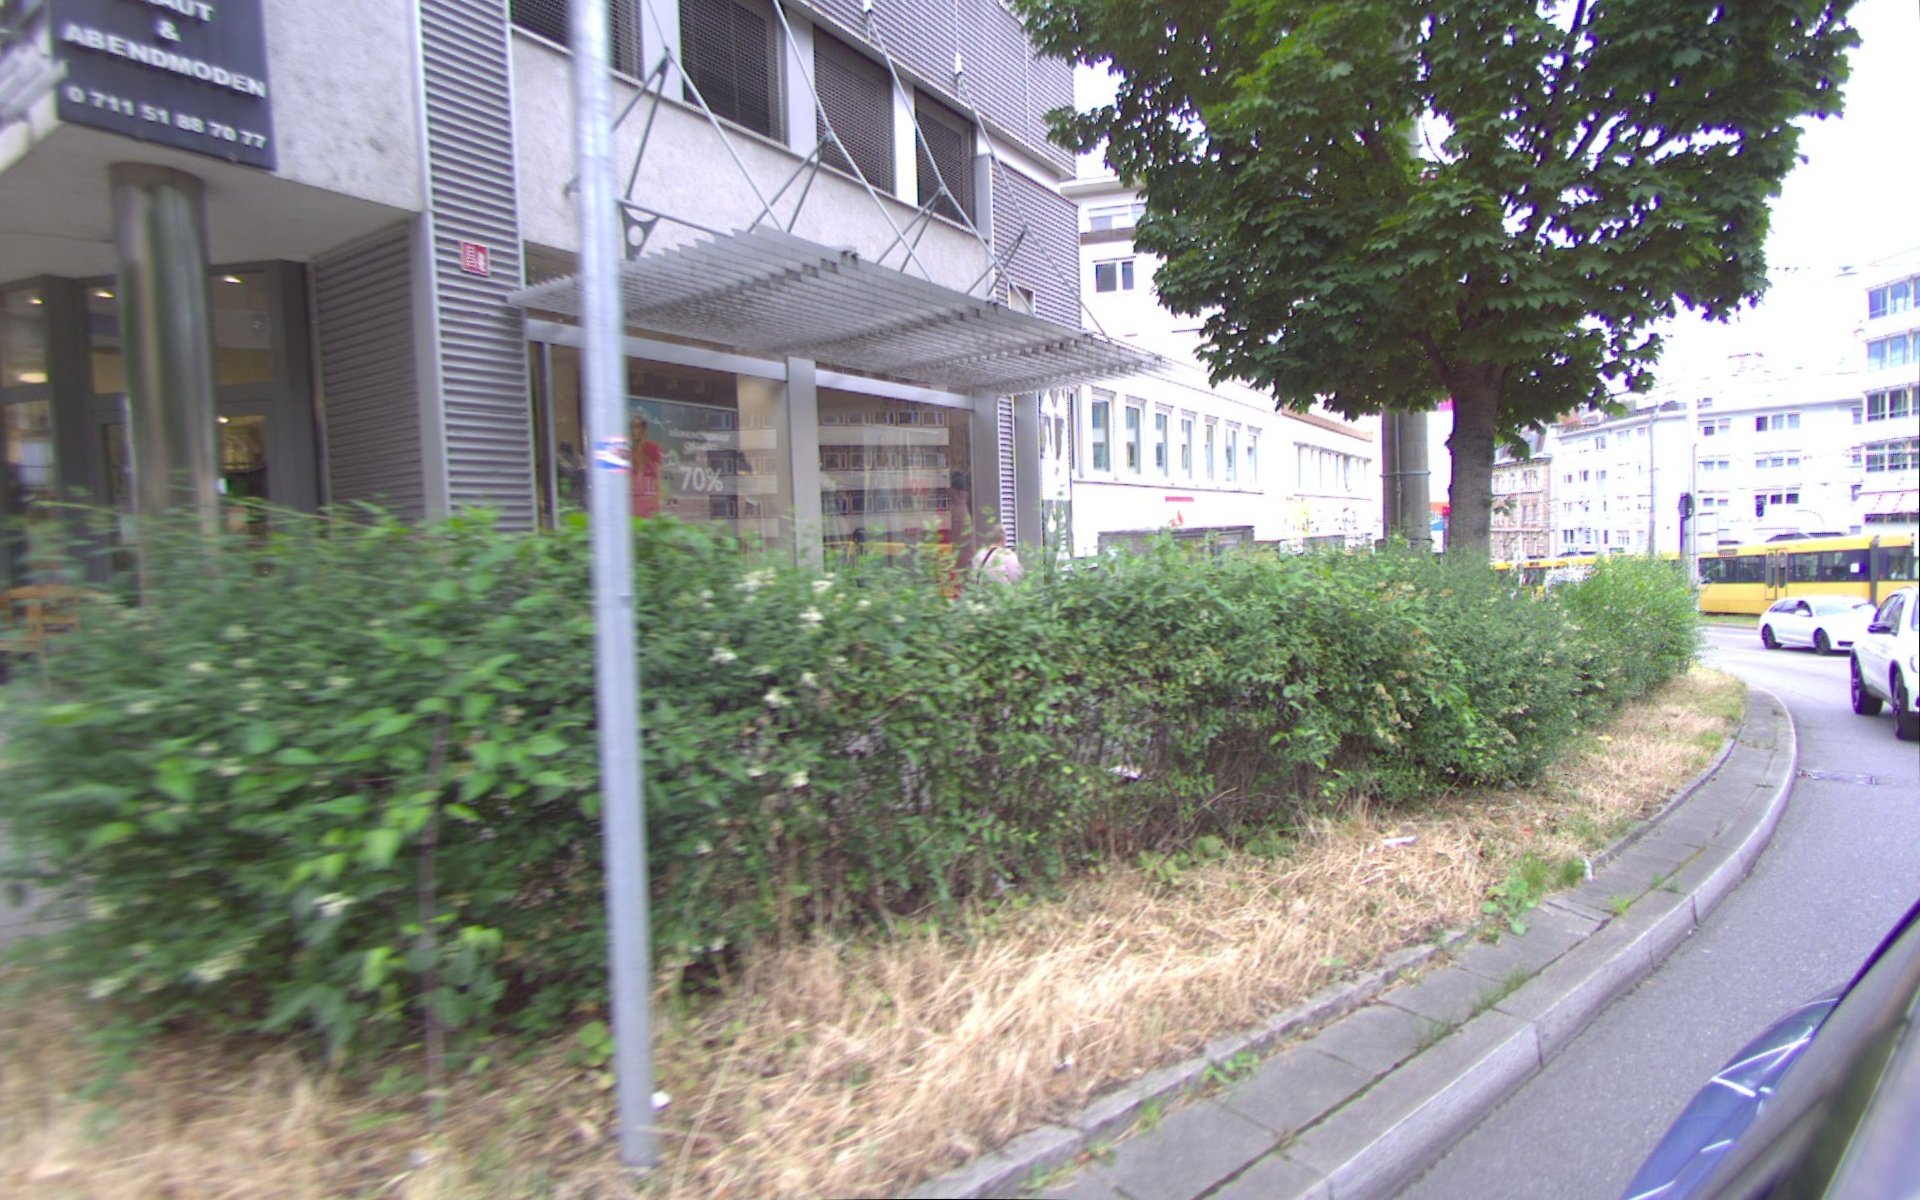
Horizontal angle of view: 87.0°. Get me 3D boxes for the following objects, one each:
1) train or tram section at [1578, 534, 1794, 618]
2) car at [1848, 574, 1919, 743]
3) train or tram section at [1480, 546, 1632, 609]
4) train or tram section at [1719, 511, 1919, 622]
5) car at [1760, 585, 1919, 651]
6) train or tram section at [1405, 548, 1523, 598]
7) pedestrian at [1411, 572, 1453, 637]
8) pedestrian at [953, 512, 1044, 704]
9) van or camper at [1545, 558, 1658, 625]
[{"bbox_3d":[37.290,-1.206,53.046,2.843,3.709,14.198,-2,1,8],"label":"train or tram section"},{"bbox_3d":[11.590,0.552,11.294,1.923,1.652,4.715,-2,0,35],"label":"car"},{"bbox_3d":[39.028,-1.519,67.173,2.881,3.602,14.210,-3,1,6],"label":"train or tram section"},{"bbox_3d":[34.785,-1.275,39.223,2.847,3.709,14.178,-2,1,12],"label":"train or tram section"},{"bbox_3d":[23.108,0.422,26.450,1.872,1.493,4.507,-2,0,17],"label":"car"},{"bbox_3d":[40.103,-2.053,81.341,2.838,3.484,14.219,-4,0,3],"label":"train or tram section"},{"bbox_3d":[13.668,0.109,29.301,0.832,1.833,1.135,2,2,38],"label":"pedestrian"},{"bbox_3d":[0.385,0.076,10.034,0.670,1.817,0.602,-1,-1,33],"label":"pedestrian"},{"bbox_3d":[27.568,-0.423,43.785,2.178,2.590,6.345,-3,0,15],"label":"van or camper"}]
